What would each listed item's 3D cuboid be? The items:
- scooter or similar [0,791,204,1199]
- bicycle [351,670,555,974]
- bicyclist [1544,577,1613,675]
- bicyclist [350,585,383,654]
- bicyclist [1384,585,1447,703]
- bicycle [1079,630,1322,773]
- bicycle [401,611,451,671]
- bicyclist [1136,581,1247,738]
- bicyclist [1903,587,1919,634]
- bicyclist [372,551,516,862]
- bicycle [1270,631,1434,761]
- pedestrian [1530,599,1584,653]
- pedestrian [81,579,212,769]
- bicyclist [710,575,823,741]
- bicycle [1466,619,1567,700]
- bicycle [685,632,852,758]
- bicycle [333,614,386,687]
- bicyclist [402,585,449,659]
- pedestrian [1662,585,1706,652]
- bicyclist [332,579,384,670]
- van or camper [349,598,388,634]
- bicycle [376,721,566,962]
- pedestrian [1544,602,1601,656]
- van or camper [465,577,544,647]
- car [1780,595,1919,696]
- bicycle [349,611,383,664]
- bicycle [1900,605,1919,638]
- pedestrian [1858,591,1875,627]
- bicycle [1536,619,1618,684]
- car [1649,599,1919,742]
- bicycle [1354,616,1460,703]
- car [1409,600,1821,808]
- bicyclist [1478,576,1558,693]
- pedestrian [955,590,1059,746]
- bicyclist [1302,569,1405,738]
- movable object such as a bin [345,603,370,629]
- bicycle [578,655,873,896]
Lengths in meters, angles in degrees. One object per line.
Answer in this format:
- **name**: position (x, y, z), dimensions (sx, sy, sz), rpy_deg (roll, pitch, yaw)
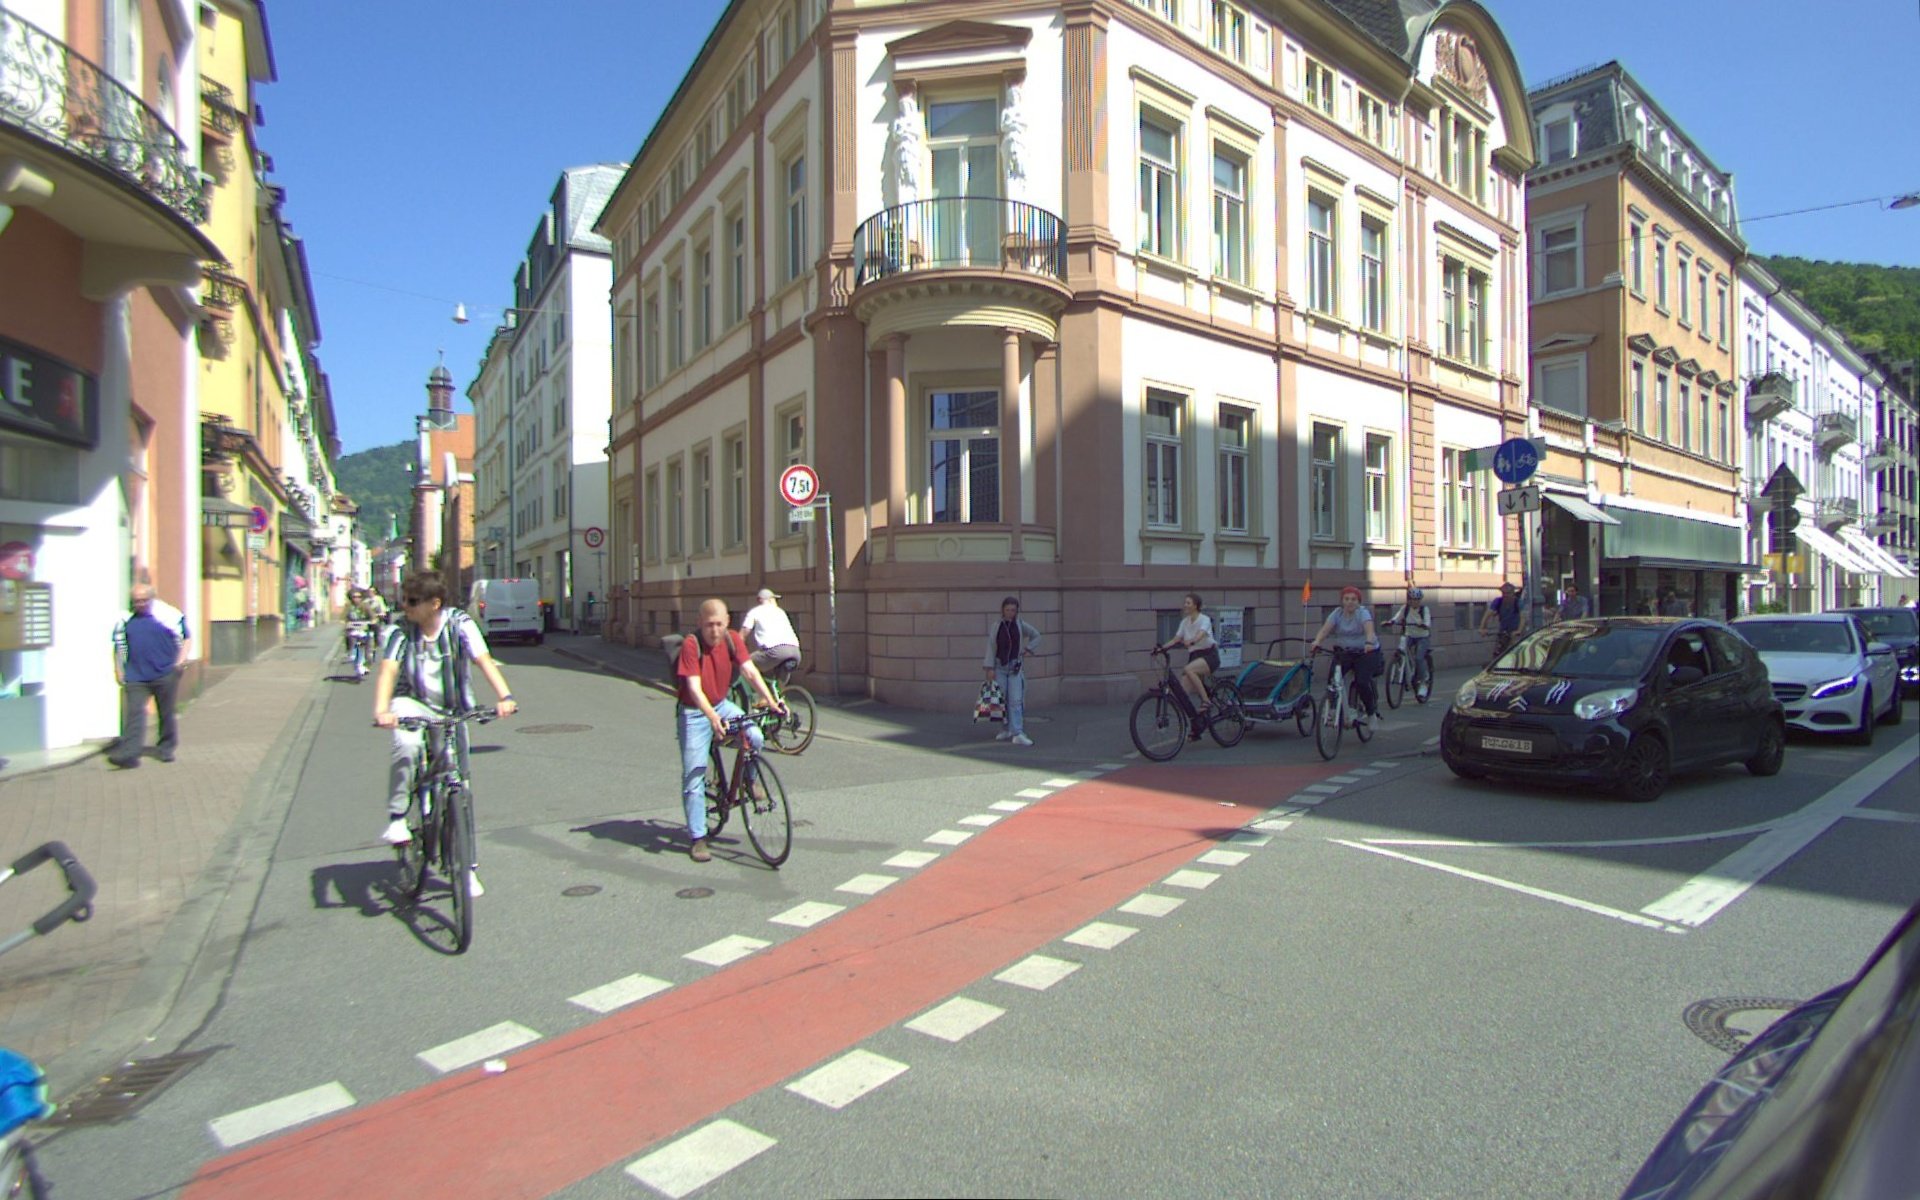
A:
- **scooter or similar**: position (-2.155, 1.009, 1.871), dimensions (0.783, 1.074, 1.108), rpy_deg (-3, -2, 43)
- **bicycle**: position (-2.660, 0.998, 5.196), dimensions (0.654, 1.141, 1.845), rpy_deg (-1, 0, -35)
- **bicyclist**: position (11.389, 0.454, 18.627), dimensions (0.830, 1.739, 0.908), rpy_deg (-1, 1, -44)
- **bicyclist**: position (-13.548, 0.436, 23.087), dimensions (0.615, 1.549, 0.889), rpy_deg (1, -1, -31)
- **bicyclist**: position (6.569, 0.609, 14.601), dimensions (0.829, 1.656, 0.516), rpy_deg (0, 0, -40)
- **bicycle**: position (2.678, 1.003, 10.904), dimensions (3.183, 1.140, 0.750), rpy_deg (-3, 3, -39)
- **bicycle**: position (-10.945, 0.803, 20.686), dimensions (0.757, 1.141, 2.575), rpy_deg (1, -1, -31)
- **bicyclist**: position (2.486, 0.616, 10.882), dimensions (0.829, 1.593, 0.747), rpy_deg (3, 0, -39)
- **bicyclist**: position (35.743, 0.382, 37.736), dimensions (1.017, 1.724, 0.747), rpy_deg (0, 0, -39)
- **bicyclist**: position (-2.636, 0.487, 5.142), dimensions (0.492, 1.429, 0.861), rpy_deg (0, 0, -39)
- **bicycle**: position (4.273, 0.982, 10.960), dimensions (1.997, 1.141, 0.737), rpy_deg (-3, 2, -39)
- **pedestrian**: position (15.220, 0.643, 25.818), dimensions (0.614, 1.332, 1.031), rpy_deg (0, 1, -40)
- **pedestrian**: position (-7.546, 0.668, 9.429), dimensions (0.774, 1.680, 0.642), rpy_deg (3, -3, -29)
- **bicyclist**: position (-2.088, 0.582, 10.883), dimensions (1.153, 1.682, 0.565), rpy_deg (2, 0, 40)
- **bicycle**: position (8.588, 0.876, 15.578), dimensions (1.955, 1.132, 0.664), rpy_deg (0, 0, -39)
- **bicycle**: position (-2.098, 0.964, 10.883), dimensions (2.068, 1.141, 0.565), rpy_deg (2, 0, 40)
- **bicycle**: position (-11.099, 0.887, 18.697), dimensions (0.756, 1.141, 2.576), rpy_deg (-2, 2, -31)
- **bicyclist**: position (-10.913, 0.438, 20.644), dimensions (0.757, 1.449, 1.261), rpy_deg (1, -1, -31)
- **pedestrian**: position (20.182, 0.493, 28.218), dimensions (0.754, 1.814, 0.840), rpy_deg (0, 0, -39)
- **bicyclist**: position (-11.031, 0.418, 18.557), dimensions (0.756, 1.576, 1.226), rpy_deg (-2, 2, -31)
- **van or camper**: position (-35.495, 0.925, 60.801), dimensions (1.960, 2.039, 4.004), rpy_deg (0, 0, -30)
- **bicycle**: position (-2.560, 1.131, 5.186), dimensions (0.492, 0.855, 1.825), rpy_deg (0, -1, -38)
- **pedestrian**: position (15.938, 0.735, 26.335), dimensions (0.614, 1.332, 1.088), rpy_deg (0, 2, -40)
- **van or camper**: position (-14.367, 0.320, 31.800), dimensions (1.959, 2.039, 4.591), rpy_deg (0, 1, -28)
- **car**: position (15.864, 0.717, 17.461), dimensions (4.216, 1.511, 1.889), rpy_deg (-1, -2, -41)
- **bicycle**: position (-13.607, 0.828, 23.168), dimensions (0.615, 1.141, 2.575), rpy_deg (1, -1, -31)
- **bicycle**: position (35.903, 0.793, 37.853), dimensions (2.527, 1.141, 0.743), rpy_deg (-1, 2, -39)
- **pedestrian**: position (42.952, 0.416, 47.949), dimensions (0.853, 1.689, 0.482), rpy_deg (0, 0, -40)
- **bicycle**: position (11.396, 0.925, 18.674), dimensions (1.885, 1.132, 0.747), rpy_deg (0, -2, -42)
- **car**: position (10.533, 0.758, 12.695), dimensions (4.801, 1.443, 1.955), rpy_deg (0, -2, -41)
- **bicycle**: position (6.463, 0.826, 14.588), dimensions (1.826, 1.141, 0.607), rpy_deg (0, 1, -39)
- **car**: position (5.923, 0.773, 9.081), dimensions (3.657, 1.497, 1.635), rpy_deg (0, -1, -31)
- **bicyclist**: position (8.602, 0.506, 15.616), dimensions (0.829, 1.739, 0.840), rpy_deg (0, 0, -39)
- **pedestrian**: position (0.550, 0.734, 11.503), dimensions (0.892, 1.631, 0.970), rpy_deg (0, 3, 22)
- **bicyclist**: position (4.255, 0.548, 10.944), dimensions (0.829, 1.739, 0.684), rpy_deg (0, -1, -39)
- **movable object such as a bin**: position (-27.911, 0.737, 46.855), dimensions (0.948, 1.162, 1.264), rpy_deg (0, 0, -34)
- **bicycle**: position (-1.588, 0.972, 6.417), dimensions (0.617, 1.141, 2.567), rpy_deg (1, -1, -43)
